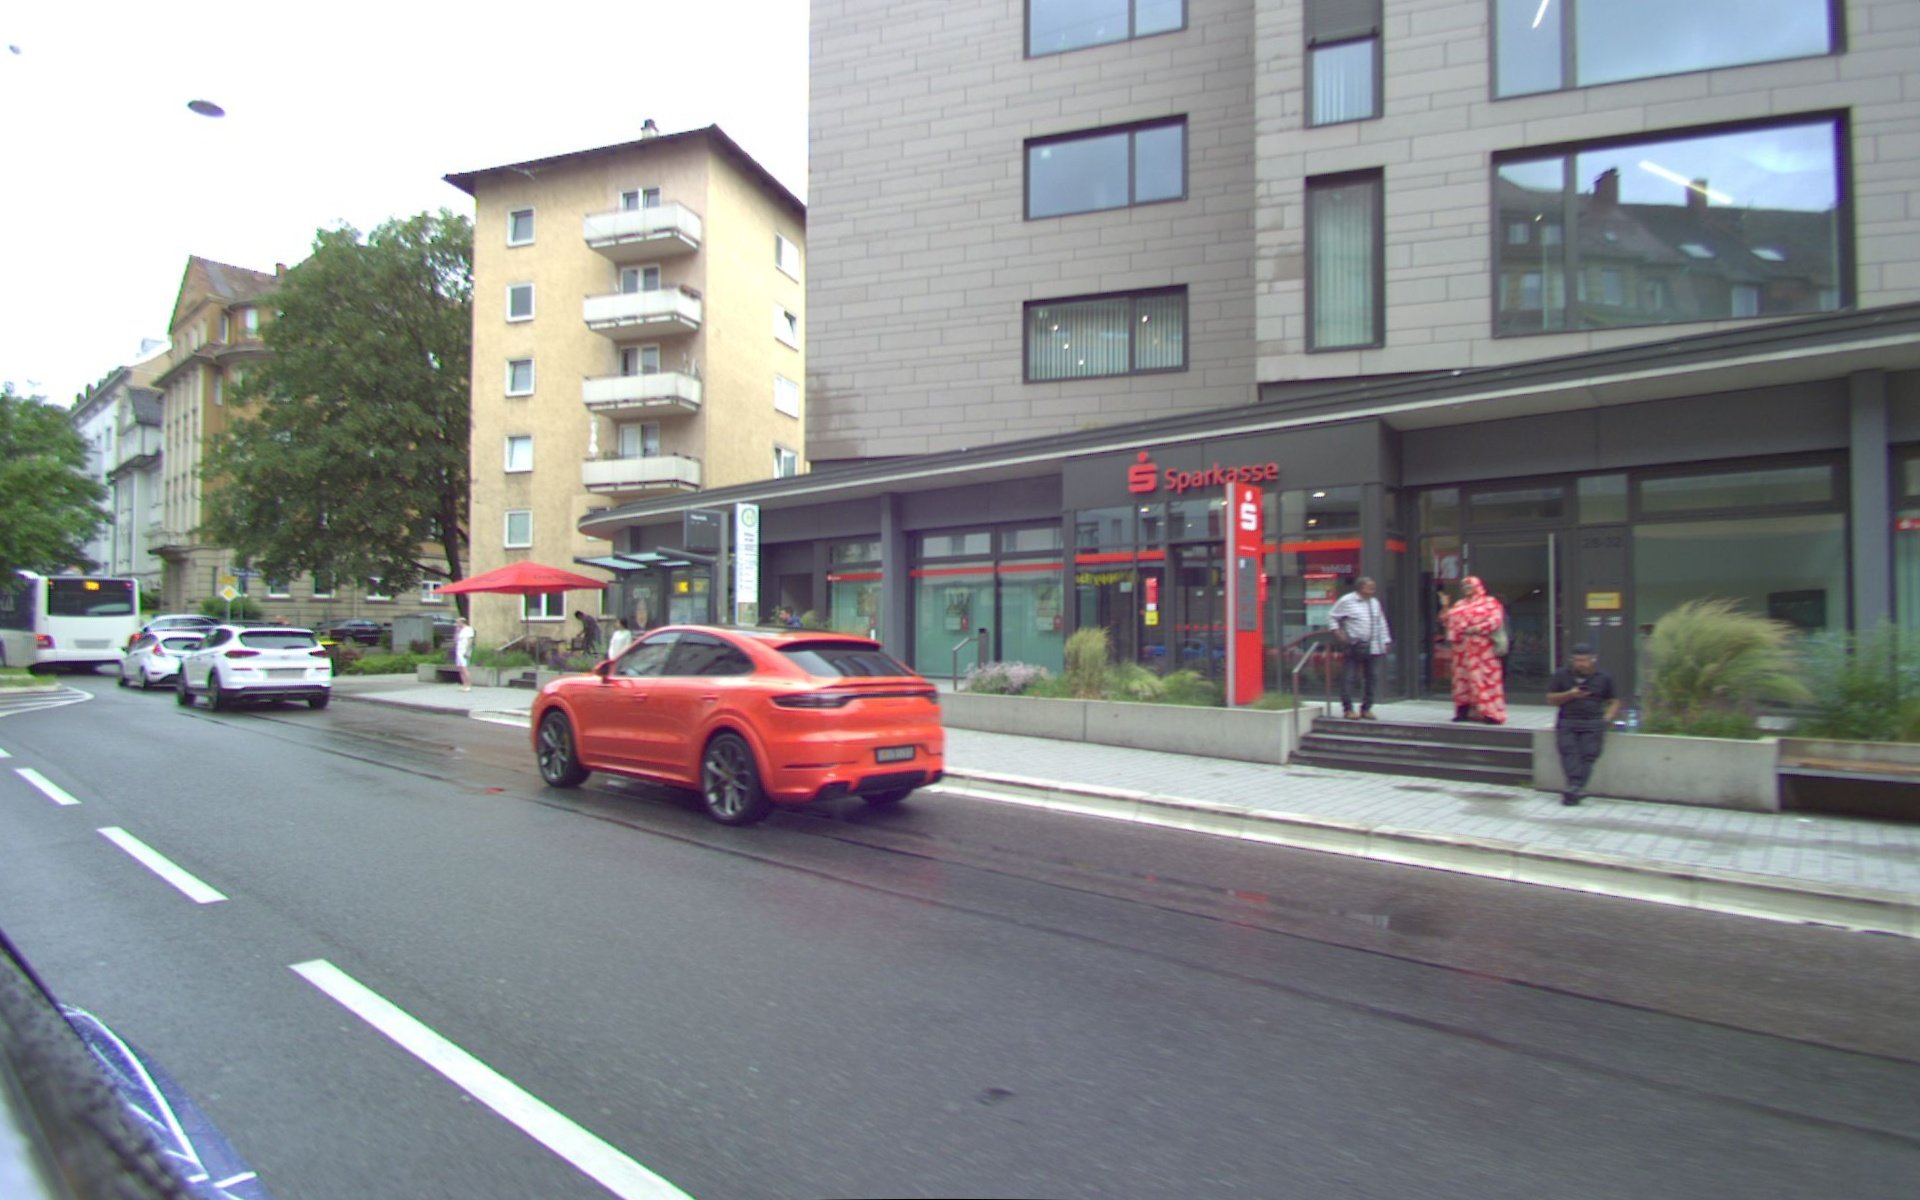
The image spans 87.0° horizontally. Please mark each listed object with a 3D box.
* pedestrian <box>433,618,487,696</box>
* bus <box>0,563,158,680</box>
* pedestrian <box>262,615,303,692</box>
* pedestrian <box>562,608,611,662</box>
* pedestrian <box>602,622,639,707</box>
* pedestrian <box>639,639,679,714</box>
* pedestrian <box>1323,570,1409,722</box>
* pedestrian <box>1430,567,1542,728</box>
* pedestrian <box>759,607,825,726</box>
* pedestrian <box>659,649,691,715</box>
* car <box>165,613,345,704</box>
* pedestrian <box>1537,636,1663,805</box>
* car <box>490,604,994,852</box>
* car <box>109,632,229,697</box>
[{"bbox_3d":[-11.453,1.295,23.201,0.756,1.721,0.788,-2,0,16],"label":"pedestrian"},{"bbox_3d":[-30.964,0.658,33.421,11.918,3.271,2.785,1,-5,31],"label":"bus"},{"bbox_3d":[-18.292,1.428,27.336,0.782,2.029,0.695,-1,-1,37],"label":"pedestrian"},{"bbox_3d":[-11.735,1.089,31.813,0.933,1.624,1.146,-2,0,16],"label":"pedestrian"},{"bbox_3d":[-6.416,1.204,19.124,0.533,1.561,0.433,-1,-2,40],"label":"pedestrian"},{"bbox_3d":[-5.334,1.334,17.926,0.549,1.287,0.463,-2,-2,41],"label":"pedestrian"},{"bbox_3d":[4.708,0.521,11.738,0.713,1.691,0.706,-2,-2,40],"label":"pedestrian"},{"bbox_3d":[5.795,0.512,11.186,0.701,1.691,0.803,0,-2,-21],"label":"pedestrian"},{"bbox_3d":[-2.681,1.038,16.141,0.868,1.833,0.584,-1,-2,32],"label":"pedestrian"},{"bbox_3d":[-4.955,1.420,17.604,0.386,1.125,0.387,-2,-2,41],"label":"pedestrian"},{"bbox_3d":[-13.896,1.101,19.874,4.122,1.585,1.875,-1,-4,41],"label":"car"},{"bbox_3d":[5.705,1.041,9.048,0.582,1.431,0.727,0,-2,-15],"label":"pedestrian"},{"bbox_3d":[-2.301,0.982,9.741,5.057,1.778,2.084,0,-3,41],"label":"car"},{"bbox_3d":[-19.897,1.601,25.422,3.804,1.475,1.599,-1,-5,41],"label":"car"}]
